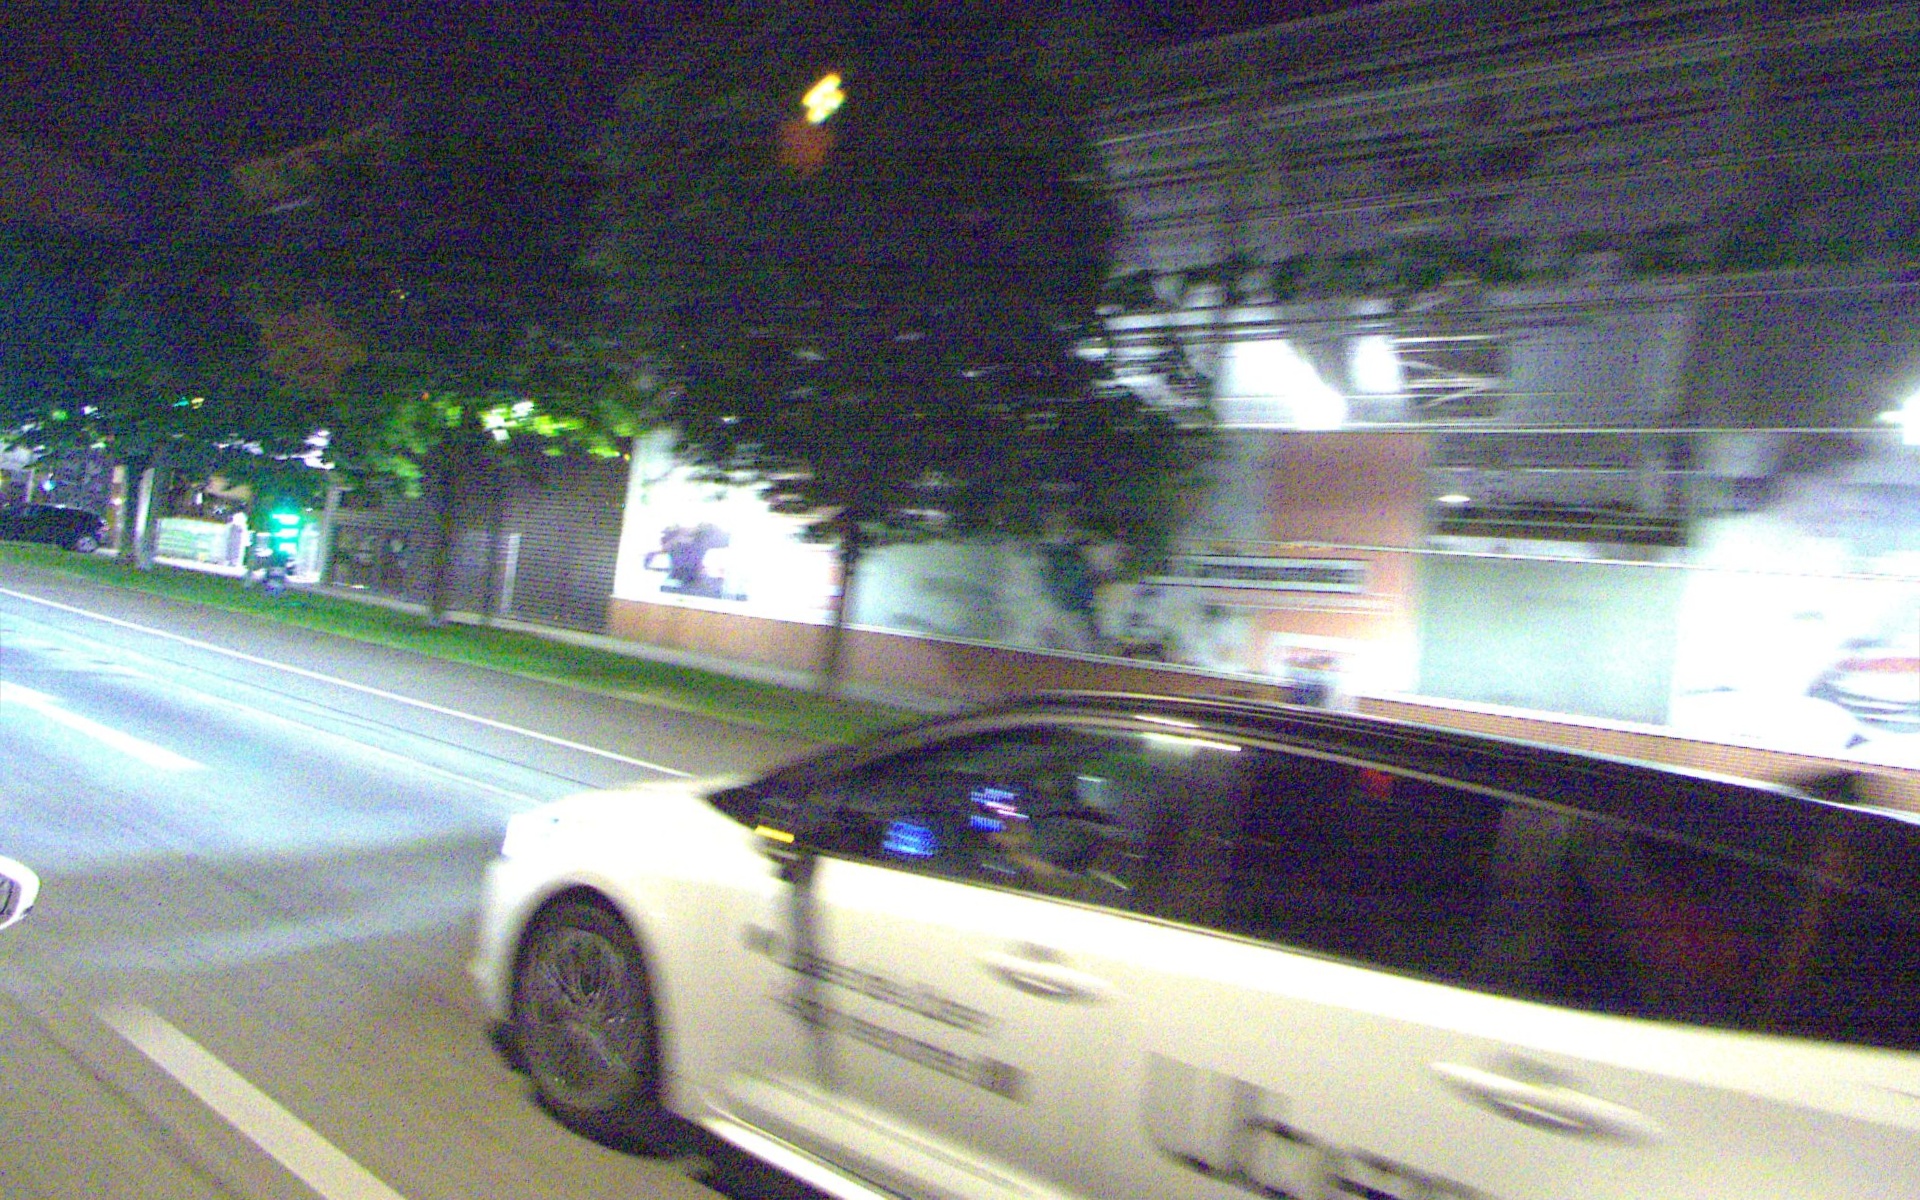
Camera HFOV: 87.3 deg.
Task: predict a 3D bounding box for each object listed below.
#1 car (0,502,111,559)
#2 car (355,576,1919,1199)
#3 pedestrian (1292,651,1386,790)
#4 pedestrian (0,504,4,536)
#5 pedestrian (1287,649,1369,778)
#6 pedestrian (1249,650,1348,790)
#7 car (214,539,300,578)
[{"bbox_3d":[-30.502,-2.361,32.643,1.757,1.471,4.088,6,-2,31],"label":"car"},{"bbox_3d":[0.386,0.929,2.907,4.424,1.446,1.728,6,-3,32],"label":"car"},{"bbox_3d":[5.426,1.704,14.400,0.954,1.810,0.720,6,0,32],"label":"pedestrian"},{"bbox_3d":[-42.542,-3.476,44.149,0.623,1.552,0.573,6,0,32],"label":"pedestrian"},{"bbox_3d":[5.701,1.743,15.589,0.891,1.839,0.675,6,0,32],"label":"pedestrian"},{"bbox_3d":[4.651,1.625,13.814,0.969,1.738,0.736,6,0,32],"label":"pedestrian"},{"bbox_3d":[-28.143,-1.676,40.260,3.481,1.181,1.460,5,-2,31],"label":"car"}]
